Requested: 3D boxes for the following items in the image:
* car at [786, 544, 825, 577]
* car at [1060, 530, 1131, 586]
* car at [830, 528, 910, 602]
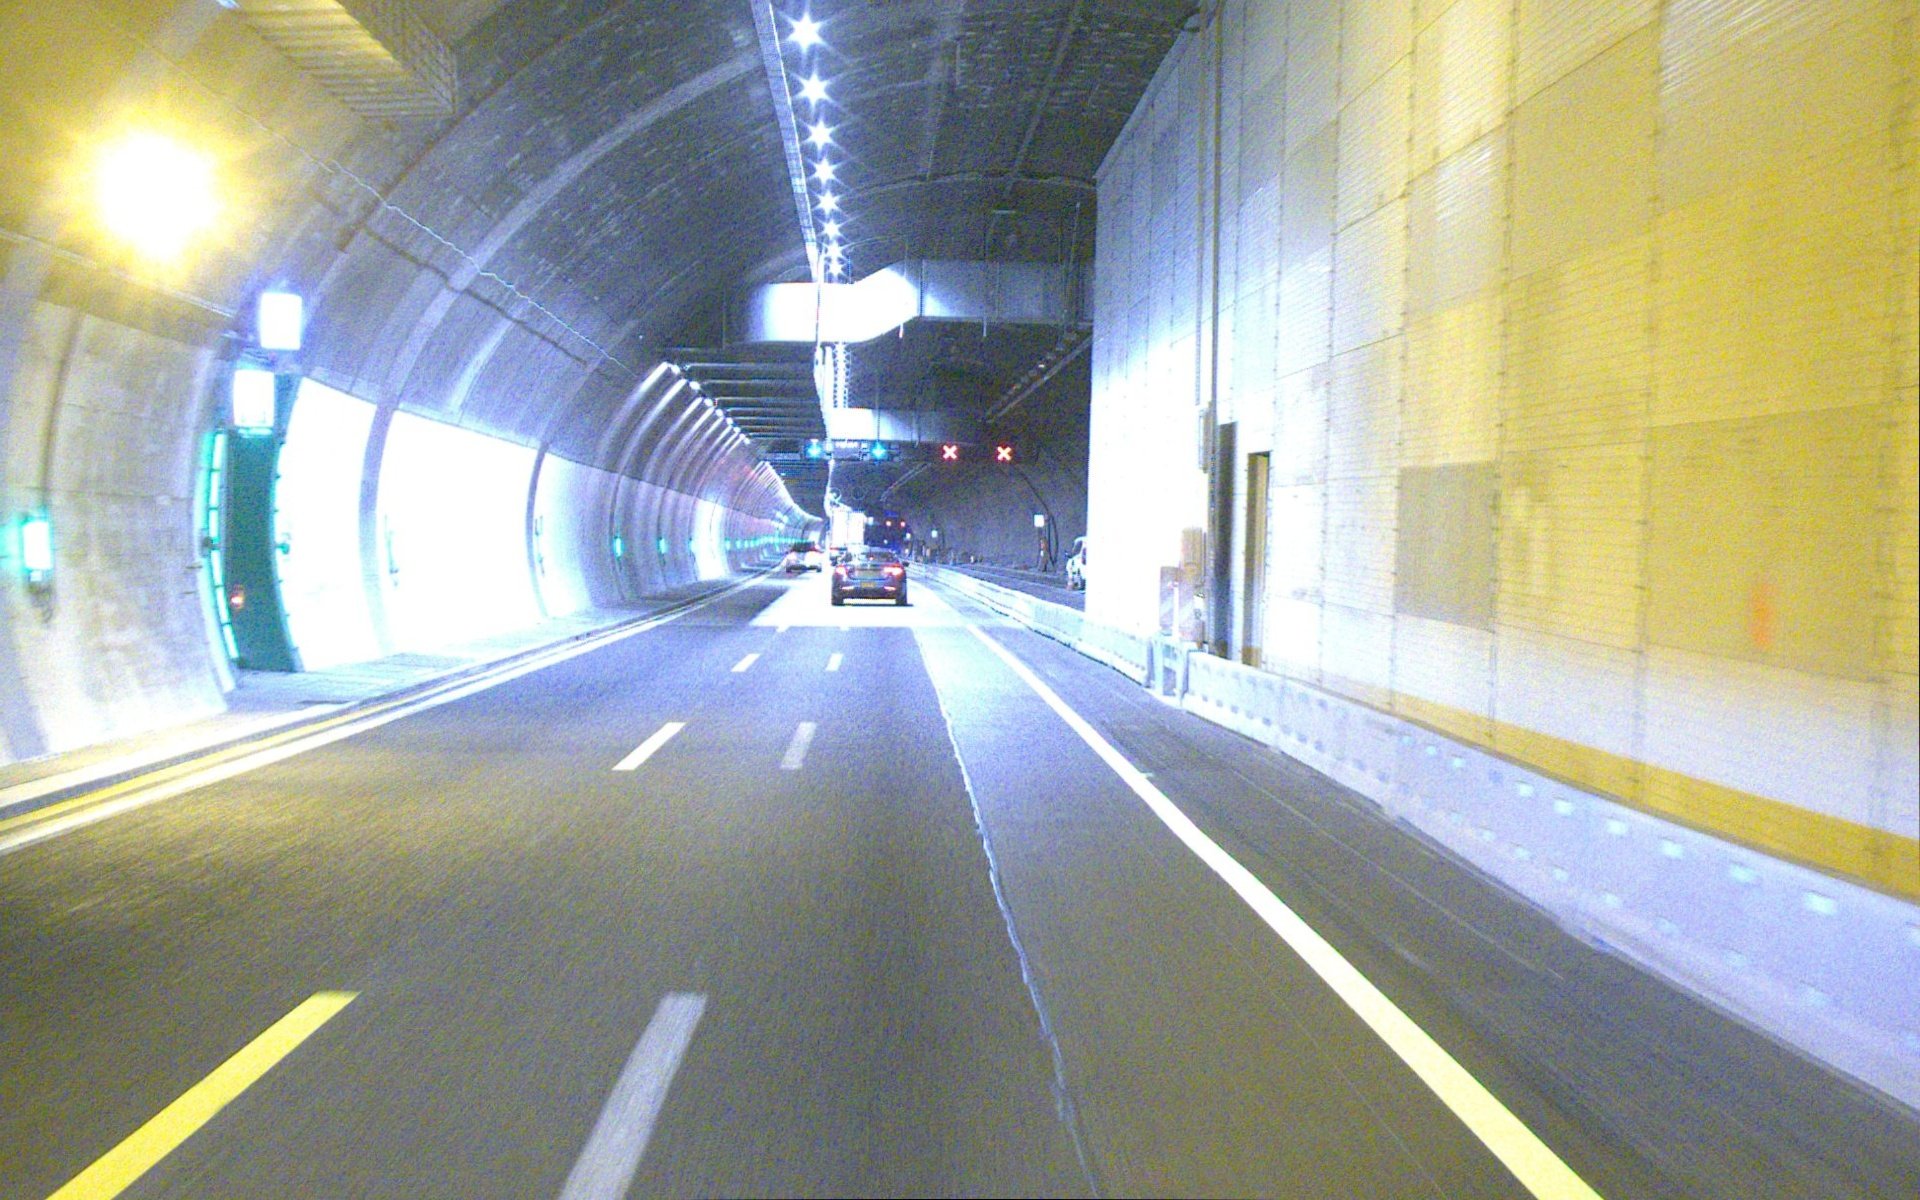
[{"bbox_3d":[-7.894,-2.036,175.691,1.930,1.681,4.000,0,1,-1],"label":"car"},{"bbox_3d":[4.587,-1.458,116.942,1.750,1.839,4.647,-1,1,-6],"label":"car"},{"bbox_3d":[-2.266,-0.889,85.977,1.946,1.788,4.001,0,1,-2],"label":"car"}]
